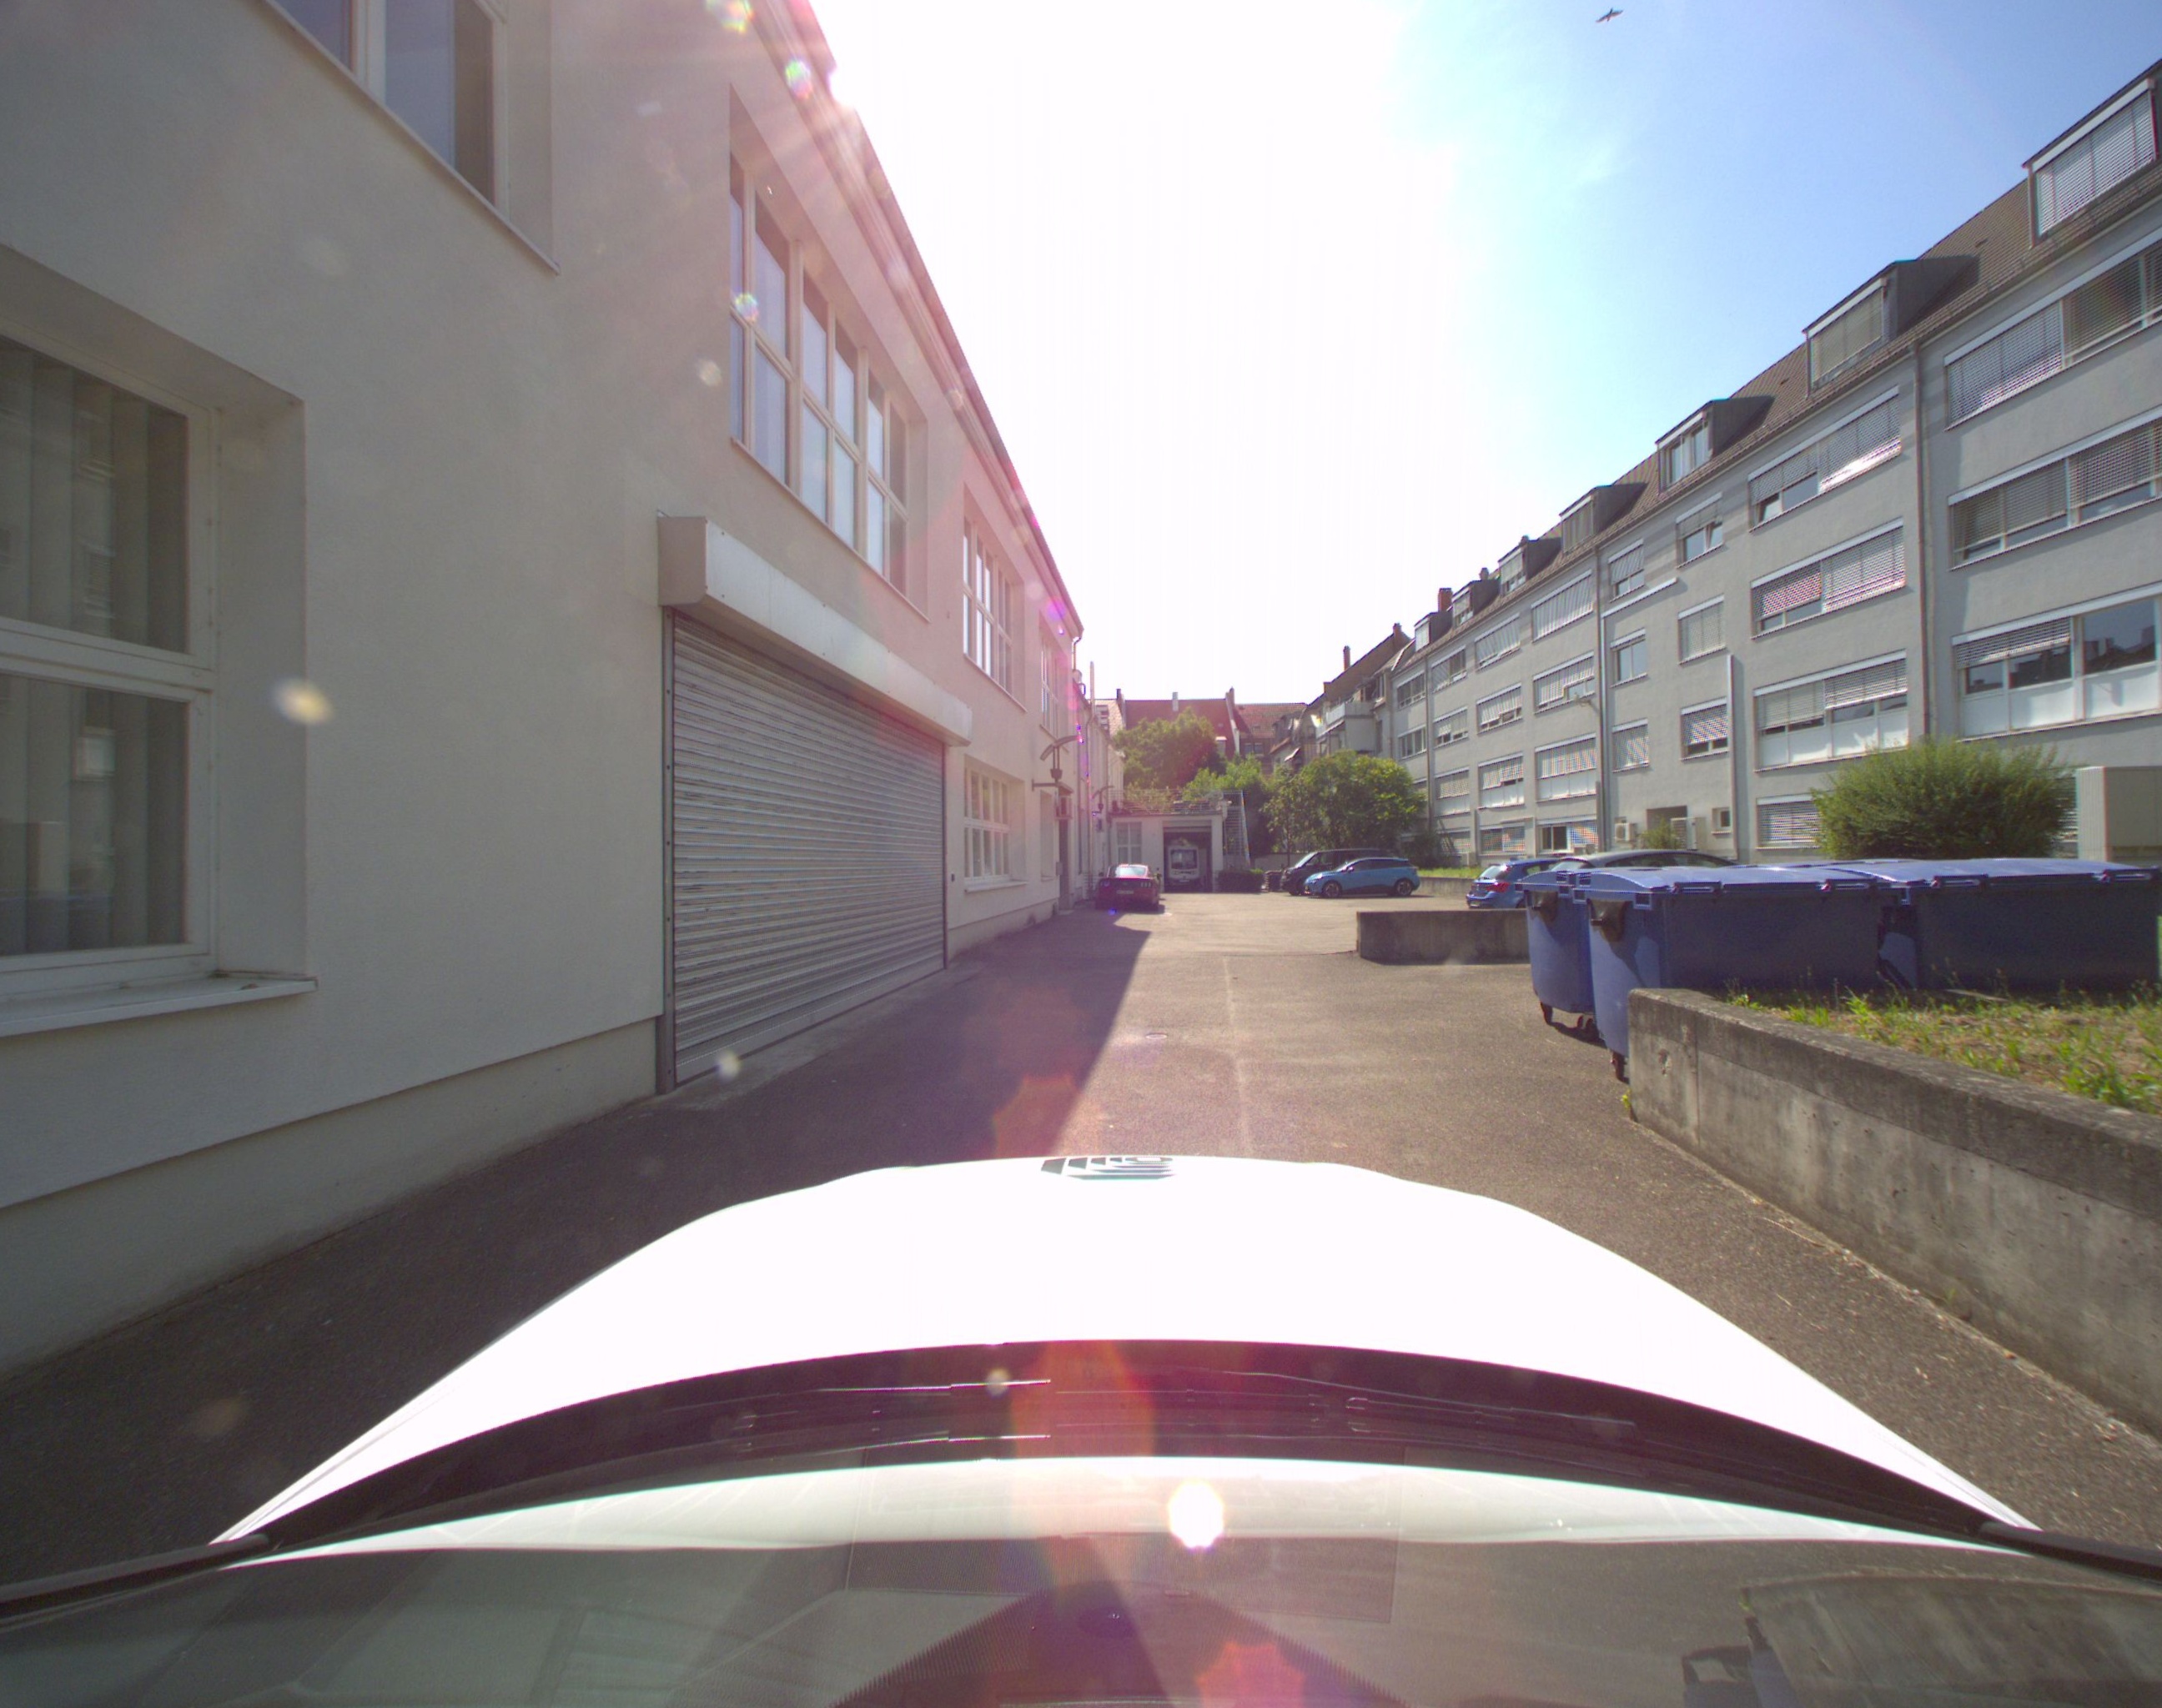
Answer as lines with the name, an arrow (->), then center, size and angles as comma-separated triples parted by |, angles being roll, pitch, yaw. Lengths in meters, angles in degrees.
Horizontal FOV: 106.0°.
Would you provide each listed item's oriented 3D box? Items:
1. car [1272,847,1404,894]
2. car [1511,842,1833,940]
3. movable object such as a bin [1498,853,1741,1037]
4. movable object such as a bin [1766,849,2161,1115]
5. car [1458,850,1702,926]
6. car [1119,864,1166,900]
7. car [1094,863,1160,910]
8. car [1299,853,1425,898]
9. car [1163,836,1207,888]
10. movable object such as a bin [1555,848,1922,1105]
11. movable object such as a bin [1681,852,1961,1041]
car -> 10.952, 0.668, 34.894 | 4.944, 1.767, 2.092 | -2, 0, -6
car -> 9.677, 0.592, 13.619 | 3.969, 1.427, 1.814 | -2, -1, 4
movable object such as a bin -> 4.334, 0.696, 6.688 | 1.241, 1.355, 1.130 | -2, -1, 4
movable object such as a bin -> 5.106, 0.665, 4.767 | 1.239, 1.340, 1.145 | -2, -1, 10
car -> 10.245, 0.693, 16.976 | 3.966, 1.394, 1.692 | -2, -1, 7
car -> 2.487, 1.060, 32.469 | 1.605, 1.295, 3.767 | -2, -1, 8
car -> 1.535, 0.957, 25.678 | 1.842, 1.319, 4.007 | 0, 0, 6
car -> 10.817, 0.809, 31.626 | 4.210, 1.532, 2.002 | -2, 0, 4
car -> 5.780, 0.493, 45.182 | 2.162, 2.607, 6.748 | -2, -1, 8
movable object such as a bin -> 3.807, 0.681, 4.908 | 1.240, 1.319, 1.145 | -3, -3, 9
movable object such as a bin -> 5.743, 0.672, 6.435 | 1.150, 1.336, 1.143 | -2, -1, 4
